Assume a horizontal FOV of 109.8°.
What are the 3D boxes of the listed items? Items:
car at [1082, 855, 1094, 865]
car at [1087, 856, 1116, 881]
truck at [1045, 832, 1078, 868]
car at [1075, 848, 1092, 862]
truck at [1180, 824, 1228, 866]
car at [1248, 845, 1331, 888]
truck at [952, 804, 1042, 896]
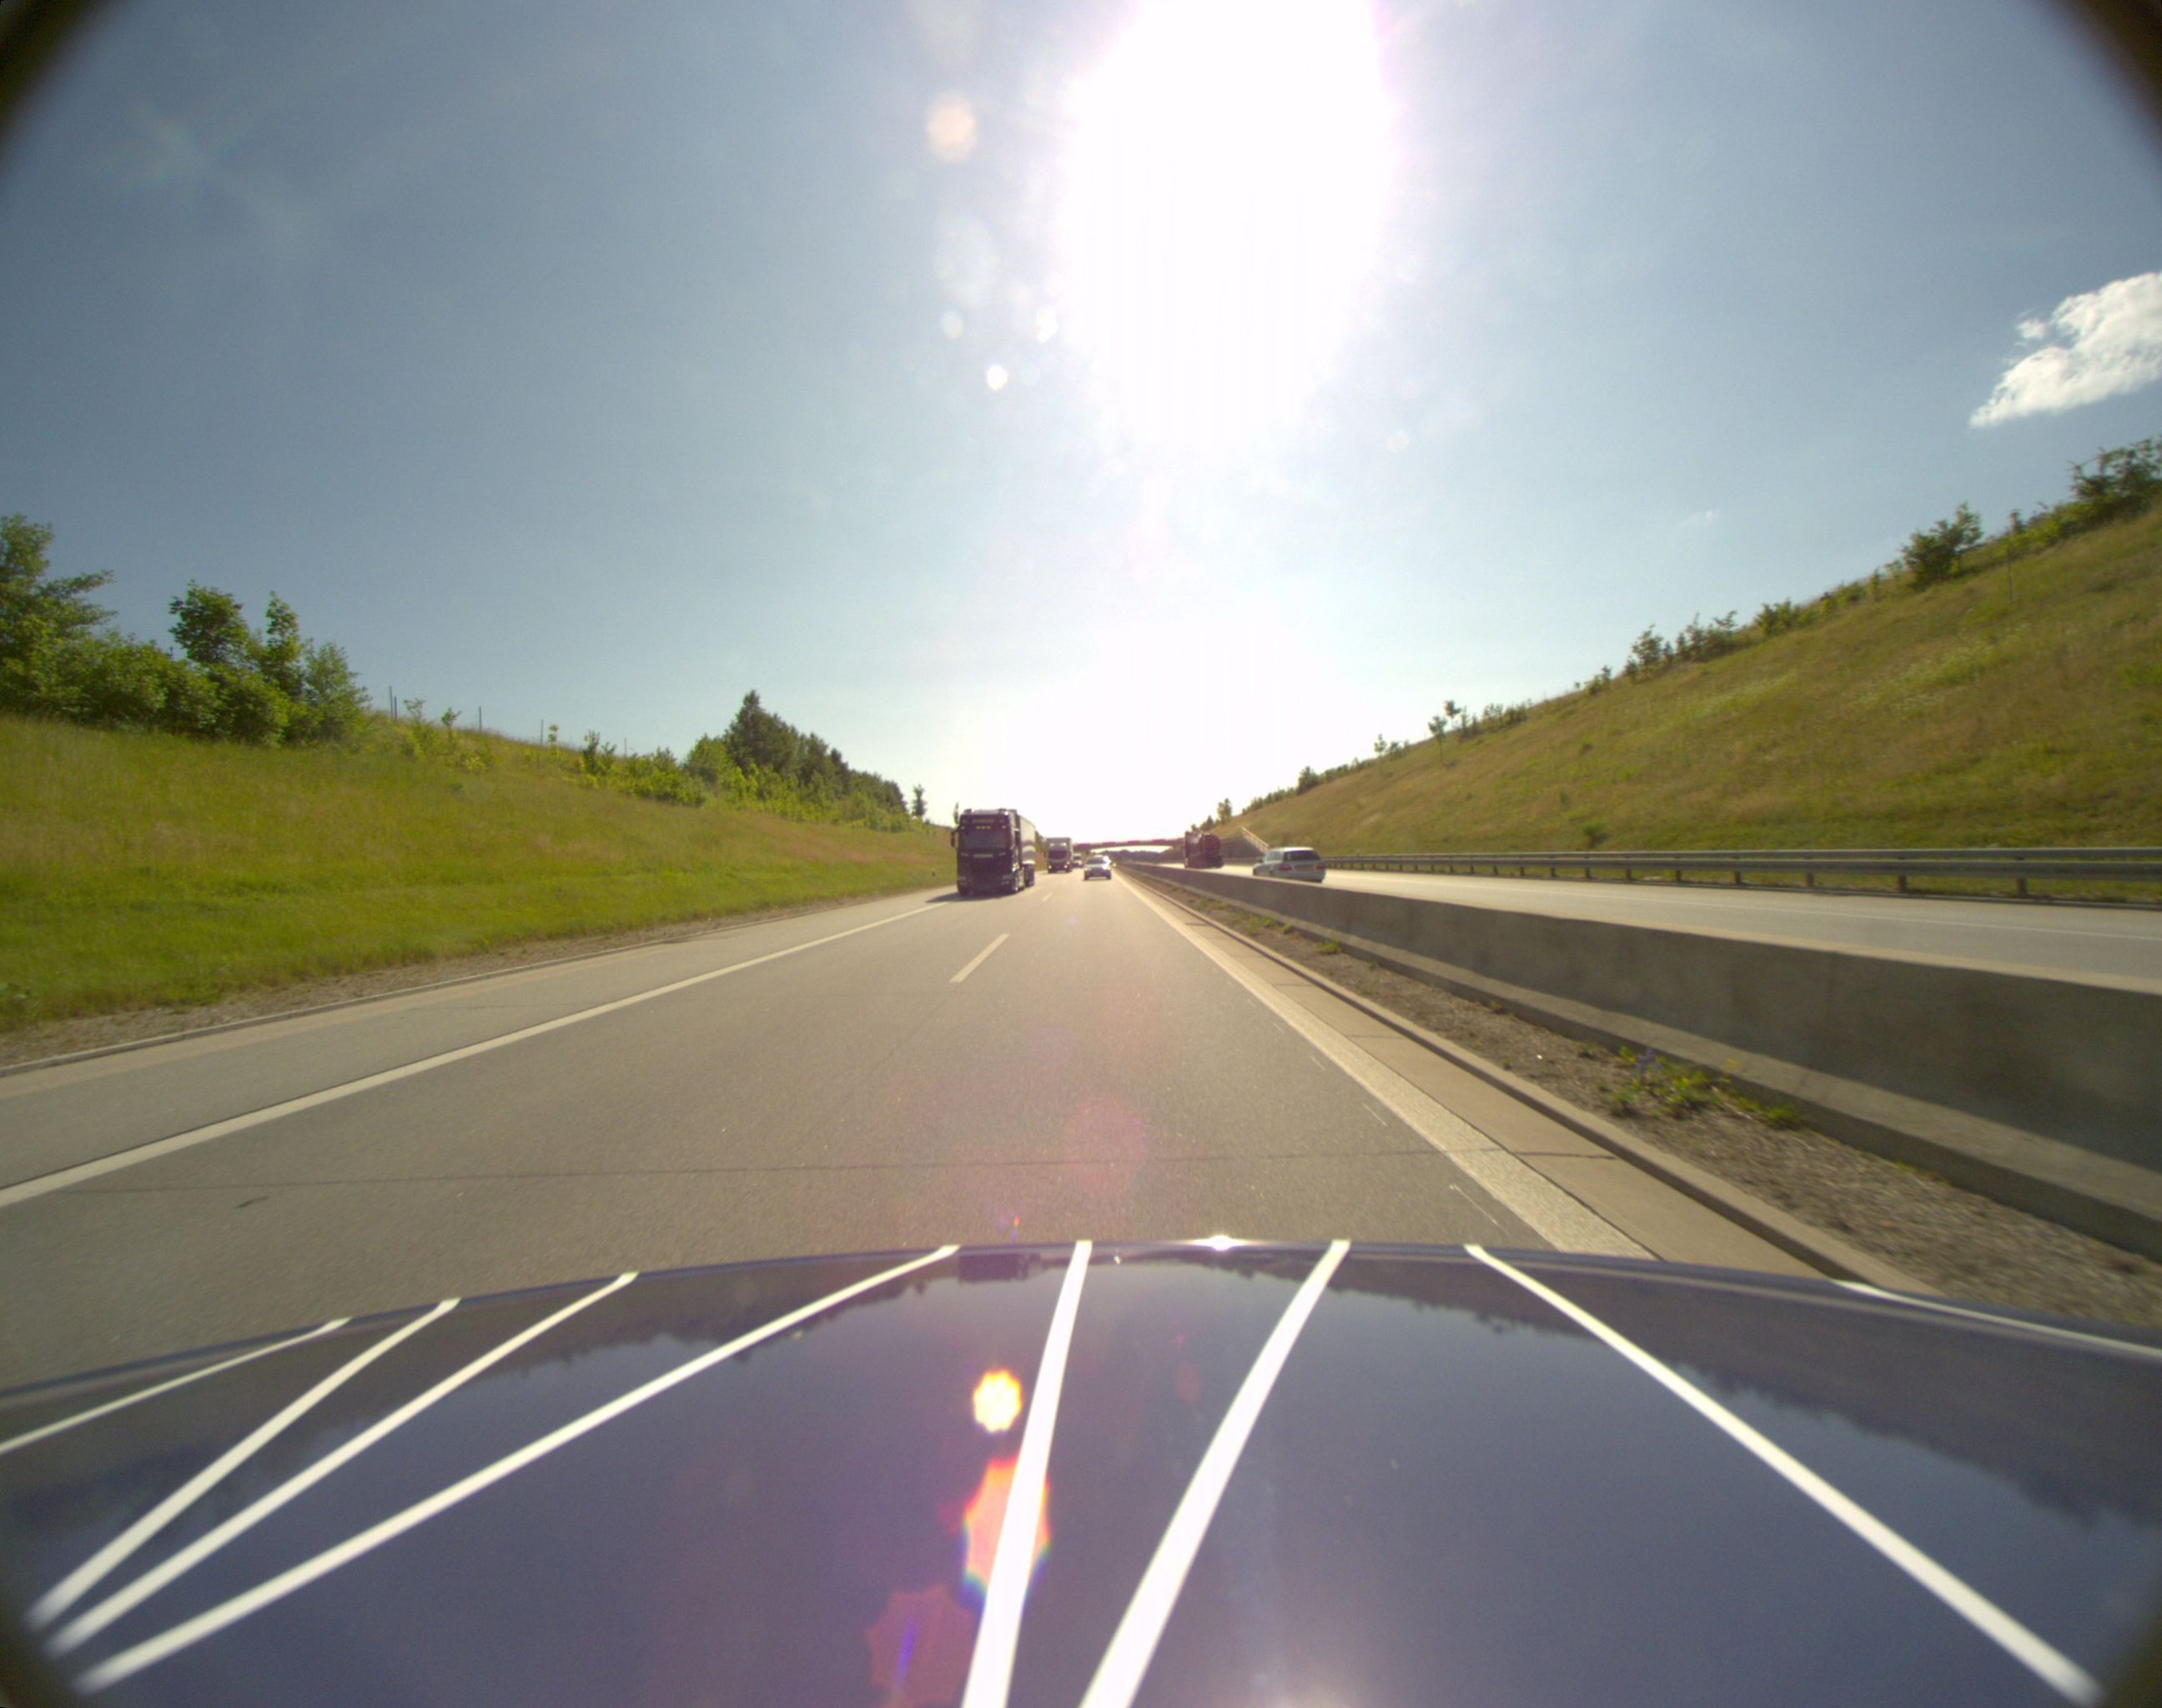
[{"bbox_3d":[1.591,1.456,177.000,2.816,2.143,5.946,-2,0,0],"label":"car"},{"bbox_3d":[1.434,0.980,52.227,1.795,1.501,3.635,-4,0,3],"label":"car"},{"bbox_3d":[-2.184,-0.518,88.999,3.025,3.795,13.403,-2,0,2],"label":"truck"},{"bbox_3d":[0.398,0.095,127.002,2.816,2.143,5.946,-2,0,0],"label":"car"},{"bbox_3d":[12.460,-0.874,78.147,2.763,3.918,12.447,-2,0,0],"label":"truck"},{"bbox_3d":[7.892,0.439,29.193,1.858,1.453,4.727,-2,0,0],"label":"car"},{"bbox_3d":[-3.868,-0.213,38.678,2.623,3.795,13.403,-2,0,2],"label":"truck"}]
